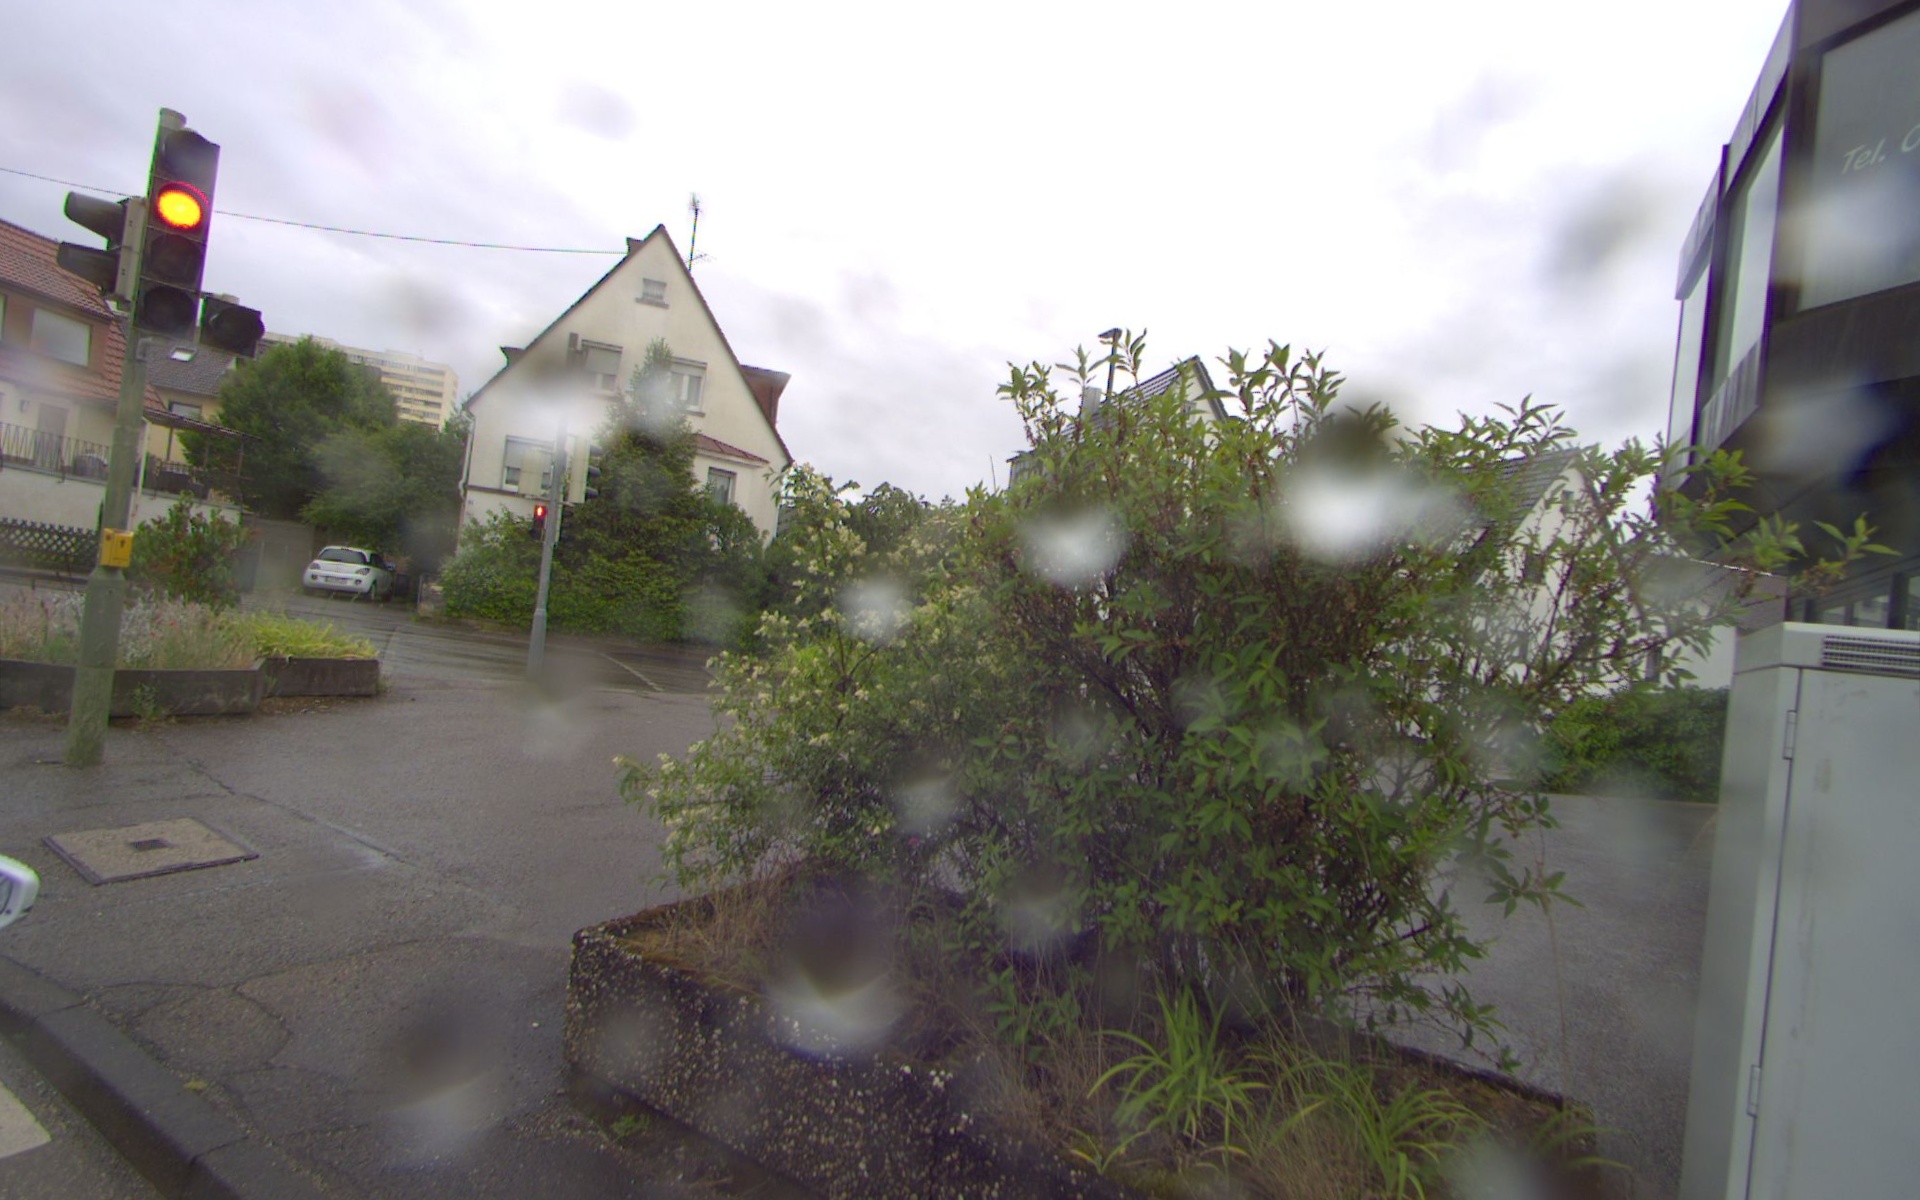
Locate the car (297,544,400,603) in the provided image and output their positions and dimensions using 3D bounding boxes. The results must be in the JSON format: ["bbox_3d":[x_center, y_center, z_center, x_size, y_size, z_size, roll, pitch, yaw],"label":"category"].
[{"bbox_3d":[-17.762,-0.747,29.414,1.794,1.378,3.981,8,-2,-22],"label":"car"}]

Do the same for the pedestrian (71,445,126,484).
[{"bbox_3d":[-24.278,-3.803,28.364,0.623,0.893,0.920,5,-2,13],"label":"pedestrian"}]
